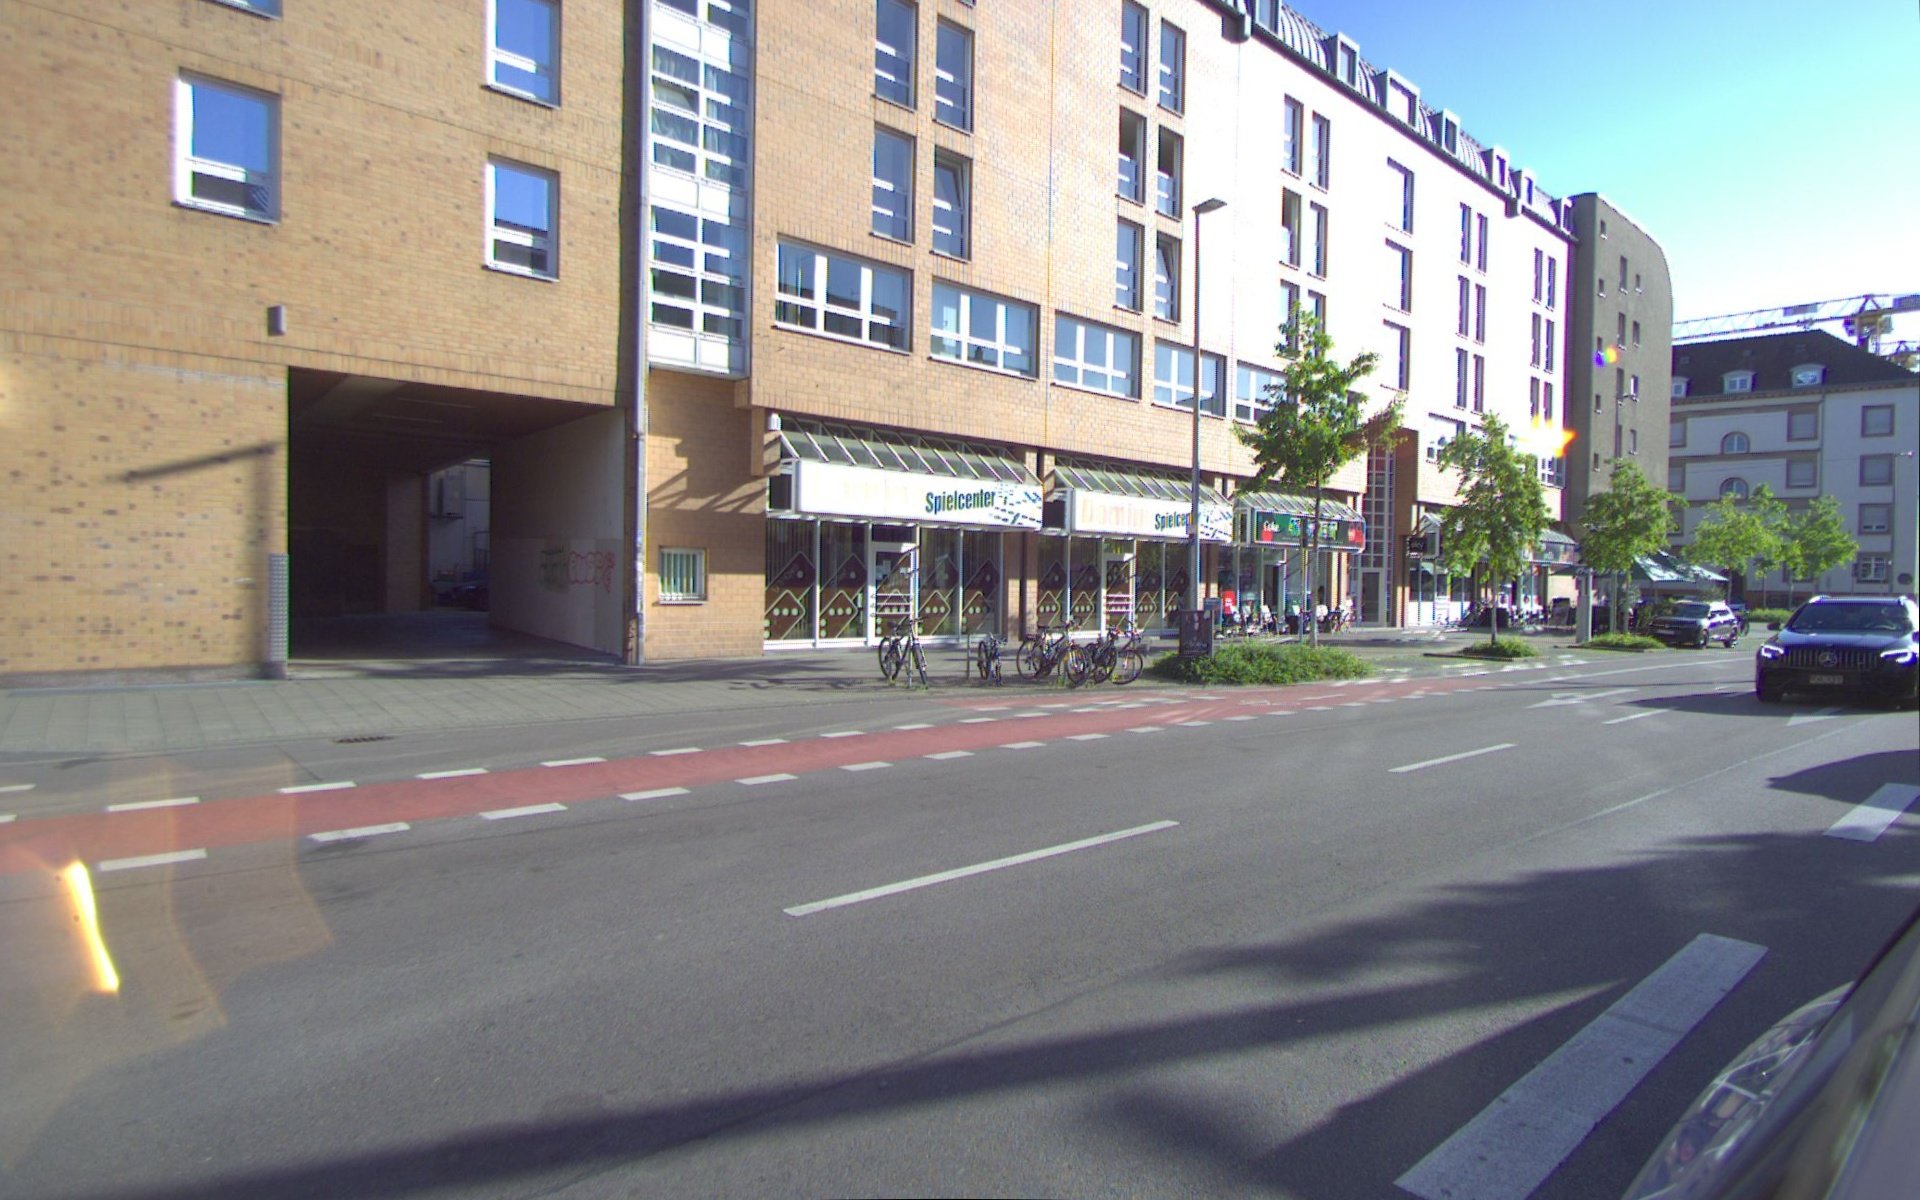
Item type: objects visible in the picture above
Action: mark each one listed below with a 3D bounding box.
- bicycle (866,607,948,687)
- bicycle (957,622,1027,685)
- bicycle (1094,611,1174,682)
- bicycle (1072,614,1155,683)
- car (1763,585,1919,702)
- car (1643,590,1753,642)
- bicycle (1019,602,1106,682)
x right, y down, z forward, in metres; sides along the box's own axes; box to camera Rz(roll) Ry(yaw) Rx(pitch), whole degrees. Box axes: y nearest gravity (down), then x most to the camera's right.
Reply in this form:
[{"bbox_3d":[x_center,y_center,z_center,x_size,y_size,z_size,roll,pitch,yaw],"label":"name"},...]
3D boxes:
[{"bbox_3d":[-0.875,0.712,16.136,0.423,1.089,1.776,-1,4,-35],"label":"bicycle"},{"bbox_3d":[0.506,0.852,16.760,0.359,0.842,1.779,0,3,-26],"label":"bicycle"},{"bbox_3d":[3.040,0.786,17.851,0.343,1.069,1.843,0,3,-26],"label":"bicycle"},{"bbox_3d":[2.639,0.811,17.656,0.440,0.997,1.843,0,3,-26],"label":"bicycle"},{"bbox_3d":[14.318,0.603,15.962,4.375,1.615,1.806,0,-1,-41],"label":"car"},{"bbox_3d":[25.779,0.530,35.314,3.921,1.660,1.782,0,1,-33],"label":"car"},{"bbox_3d":[1.714,0.674,17.207,0.553,1.177,1.843,0,3,-26],"label":"bicycle"}]
